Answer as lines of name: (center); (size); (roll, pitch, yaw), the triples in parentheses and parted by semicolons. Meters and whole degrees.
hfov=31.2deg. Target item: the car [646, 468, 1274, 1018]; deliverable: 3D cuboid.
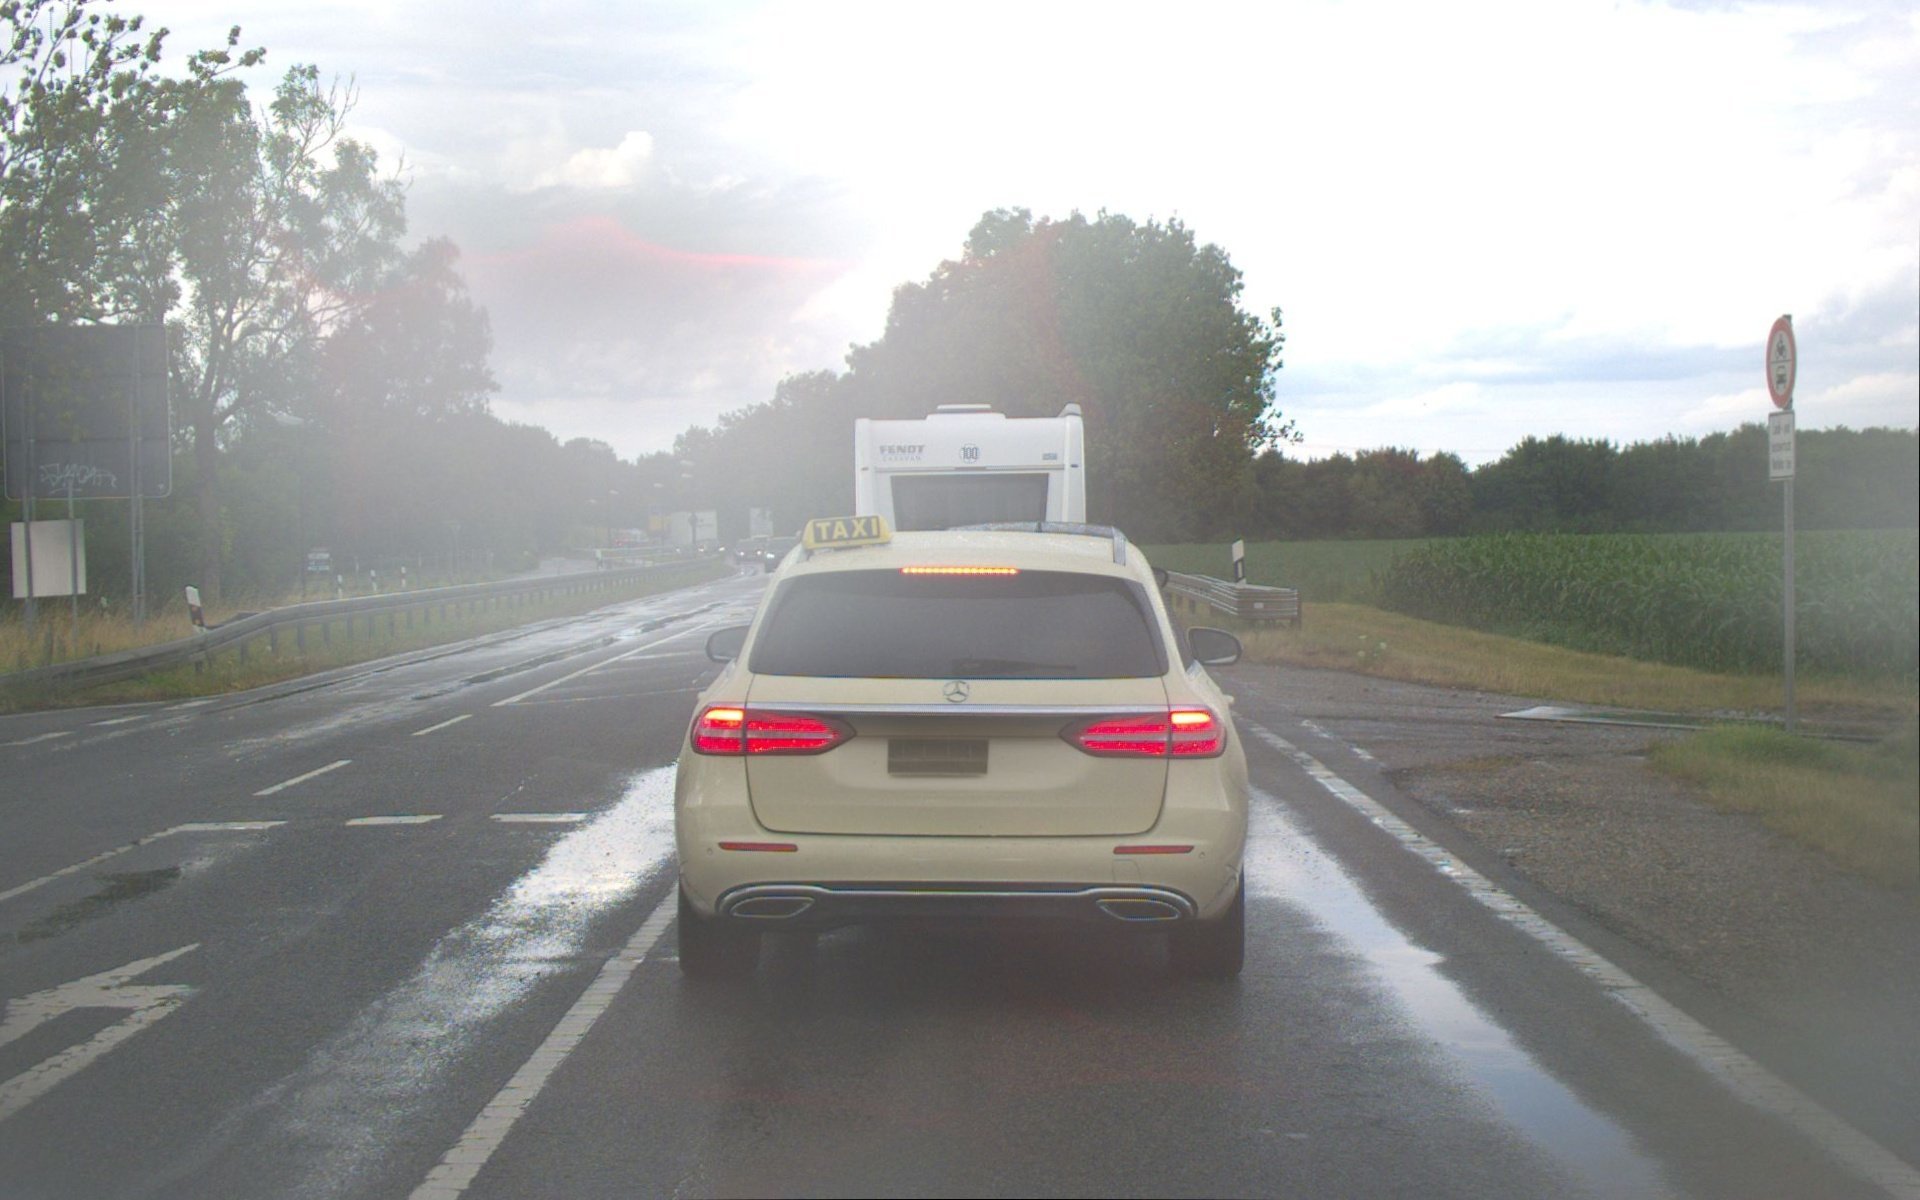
car: (-0.021, 0.400, 12.113); (1.842, 1.612, 4.000); (0, 1, -1)

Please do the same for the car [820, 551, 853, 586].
car: (-6.828, -1.746, 190.630); (1.740, 1.853, 3.785); (-1, 1, -1)

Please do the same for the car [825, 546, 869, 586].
car: (-5.063, -1.540, 154.320); (1.879, 1.755, 3.834); (-1, 1, -1)

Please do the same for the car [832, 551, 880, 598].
car: (-4.107, -1.010, 136.063); (1.791, 1.771, 3.721); (-1, 1, -1)

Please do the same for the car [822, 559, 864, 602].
car: (-5.589, -0.951, 164.590); (1.852, 2.007, 3.811); (-1, 1, -1)

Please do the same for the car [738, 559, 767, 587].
car: (-12.337, -1.591, 204.771); (1.580, 1.634, 3.442); (-1, 1, -1)

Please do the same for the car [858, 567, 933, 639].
car: (-1.738, 0.064, 91.626); (1.915, 1.834, 3.796); (-1, 1, -1)

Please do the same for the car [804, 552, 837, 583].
car: (-8.595, -1.995, 211.951); (1.895, 1.888, 3.844); (-1, 1, -3)

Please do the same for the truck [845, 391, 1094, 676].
truck: (0.056, -0.693, 37.058); (2.363, 2.719, 7.314); (-1, 1, -1)

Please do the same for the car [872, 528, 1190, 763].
car: (0.431, 0.274, 23.862); (1.993, 1.457, 4.000); (1, 0, -1)

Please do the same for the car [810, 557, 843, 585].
car: (-7.924, -1.727, 203.903); (1.748, 1.656, 3.673); (-1, 1, -5)

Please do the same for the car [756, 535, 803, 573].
car: (-7.829, -1.988, 149.431); (1.828, 1.568, 4.000); (1, 0, 0)
